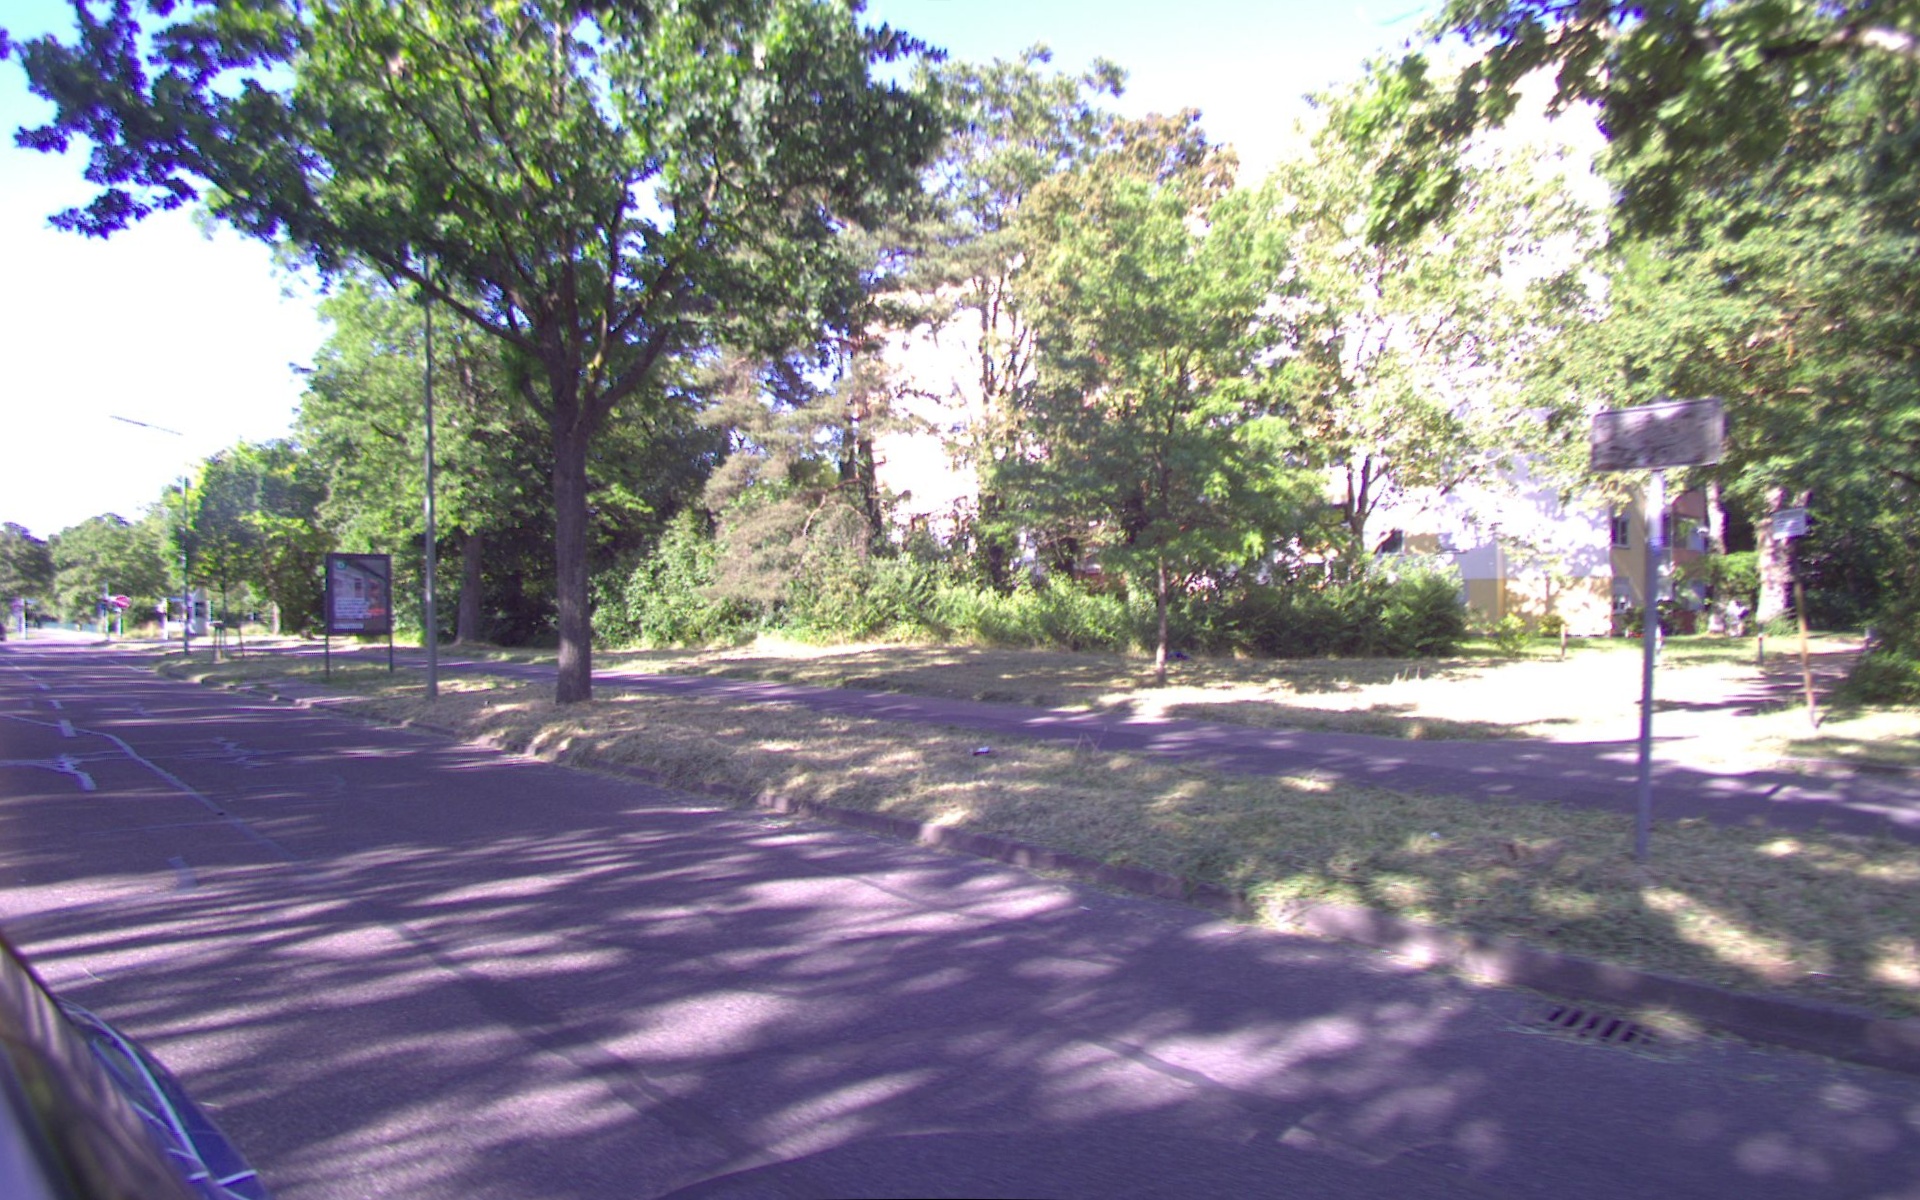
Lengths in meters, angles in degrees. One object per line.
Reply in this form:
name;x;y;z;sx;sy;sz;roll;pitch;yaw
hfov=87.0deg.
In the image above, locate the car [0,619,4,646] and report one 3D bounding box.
car;-77.849;2.586;80.827;3.641;2.111;1.878;-2;-3;43
